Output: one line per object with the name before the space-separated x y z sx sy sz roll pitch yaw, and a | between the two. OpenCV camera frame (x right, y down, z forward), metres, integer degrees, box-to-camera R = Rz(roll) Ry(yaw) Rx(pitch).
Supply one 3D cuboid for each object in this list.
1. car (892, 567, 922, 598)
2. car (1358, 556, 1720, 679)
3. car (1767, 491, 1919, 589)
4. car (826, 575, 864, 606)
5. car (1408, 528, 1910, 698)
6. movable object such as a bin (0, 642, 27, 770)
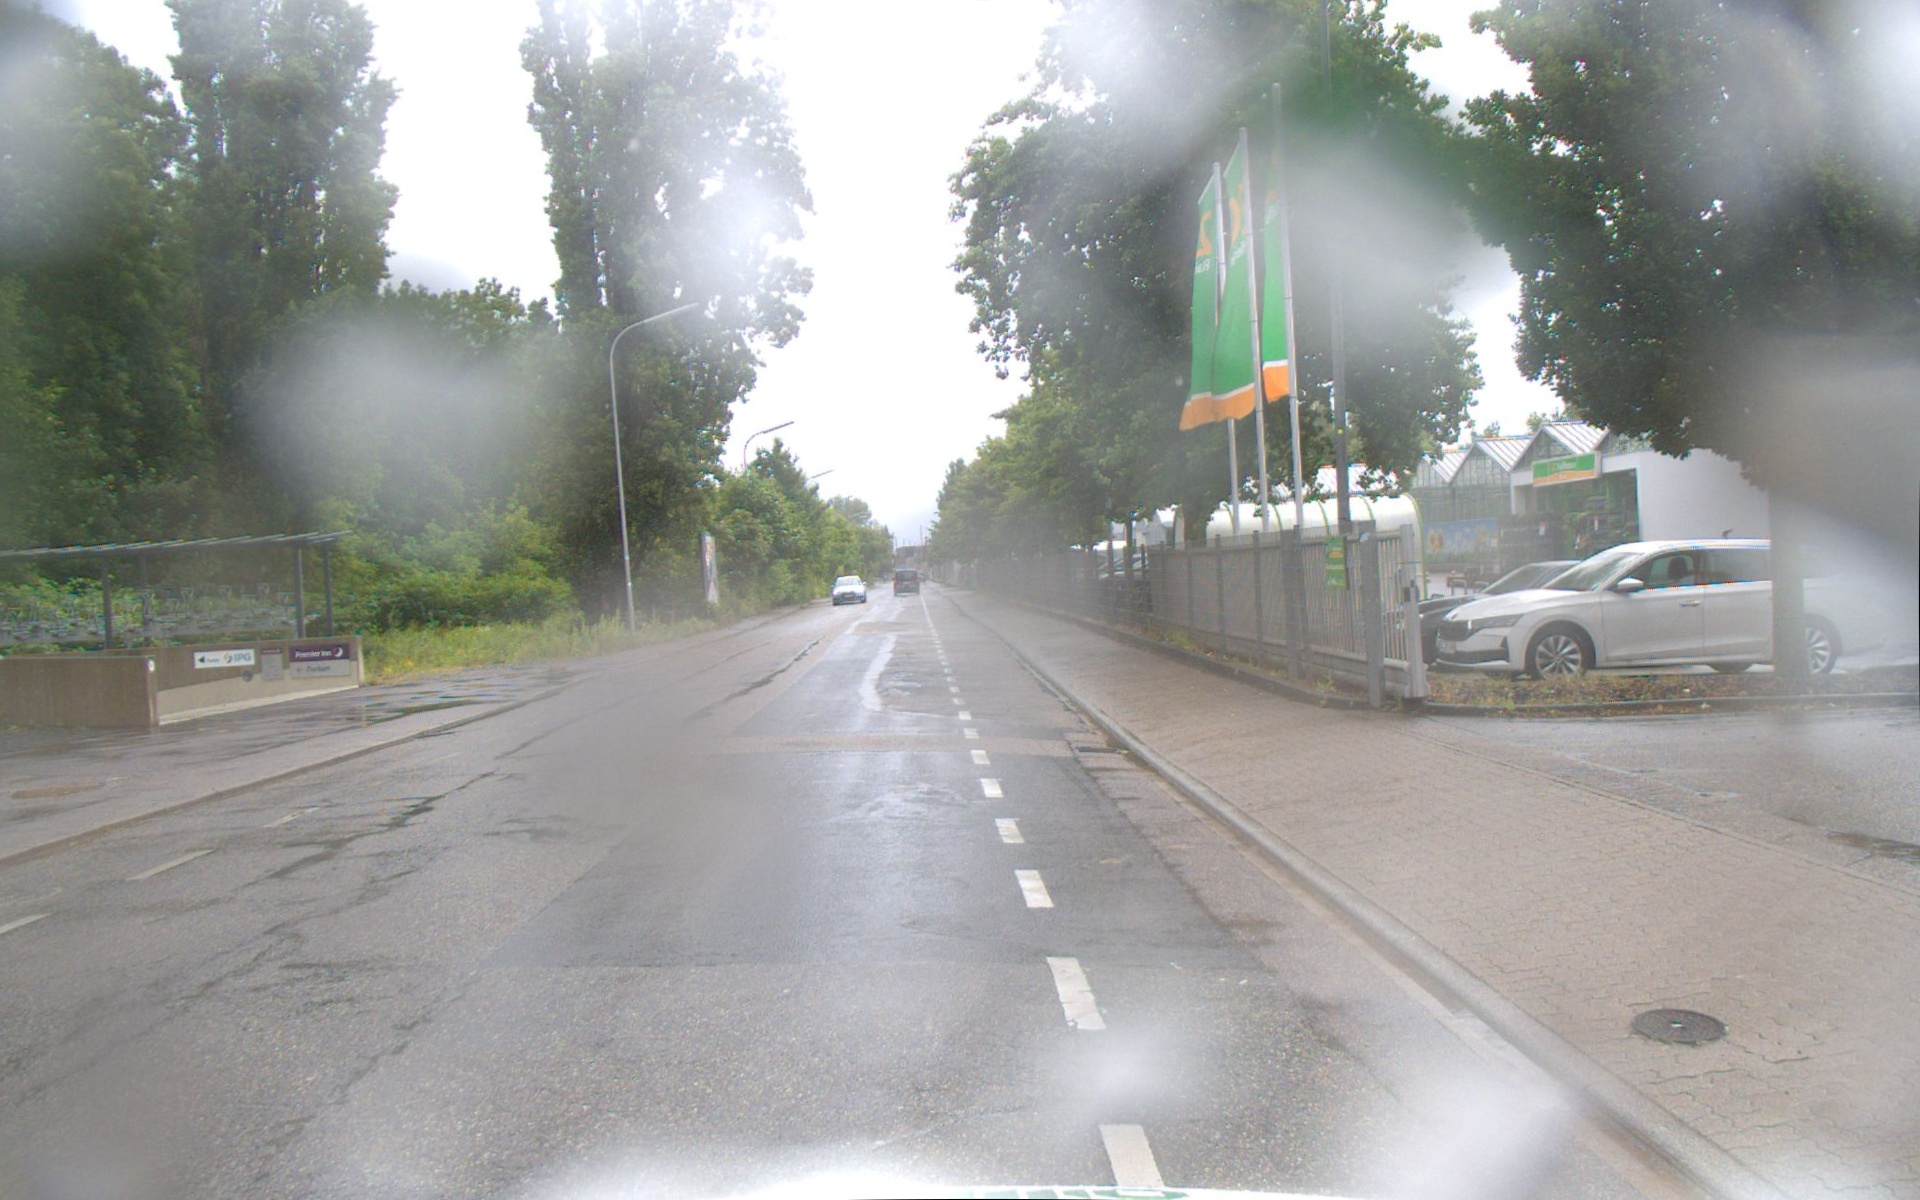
car | -3.677 -1.162 114.258 1.954 1.943 4.199 -4 0 -2
car | 7.077 0.197 20.424 3.860 1.278 1.618 -3 0 -3
car | 19.782 -1.341 35.038 4.274 1.864 2.063 -4 1 0
car | -6.305 -0.547 91.107 1.699 1.475 4.380 -6 1 -1
car | 7.435 0.114 17.883 4.610 1.488 1.889 -3 1 -3
movable object such as a bin | -10.891 1.181 17.460 1.270 1.355 1.358 -3 1 -3
